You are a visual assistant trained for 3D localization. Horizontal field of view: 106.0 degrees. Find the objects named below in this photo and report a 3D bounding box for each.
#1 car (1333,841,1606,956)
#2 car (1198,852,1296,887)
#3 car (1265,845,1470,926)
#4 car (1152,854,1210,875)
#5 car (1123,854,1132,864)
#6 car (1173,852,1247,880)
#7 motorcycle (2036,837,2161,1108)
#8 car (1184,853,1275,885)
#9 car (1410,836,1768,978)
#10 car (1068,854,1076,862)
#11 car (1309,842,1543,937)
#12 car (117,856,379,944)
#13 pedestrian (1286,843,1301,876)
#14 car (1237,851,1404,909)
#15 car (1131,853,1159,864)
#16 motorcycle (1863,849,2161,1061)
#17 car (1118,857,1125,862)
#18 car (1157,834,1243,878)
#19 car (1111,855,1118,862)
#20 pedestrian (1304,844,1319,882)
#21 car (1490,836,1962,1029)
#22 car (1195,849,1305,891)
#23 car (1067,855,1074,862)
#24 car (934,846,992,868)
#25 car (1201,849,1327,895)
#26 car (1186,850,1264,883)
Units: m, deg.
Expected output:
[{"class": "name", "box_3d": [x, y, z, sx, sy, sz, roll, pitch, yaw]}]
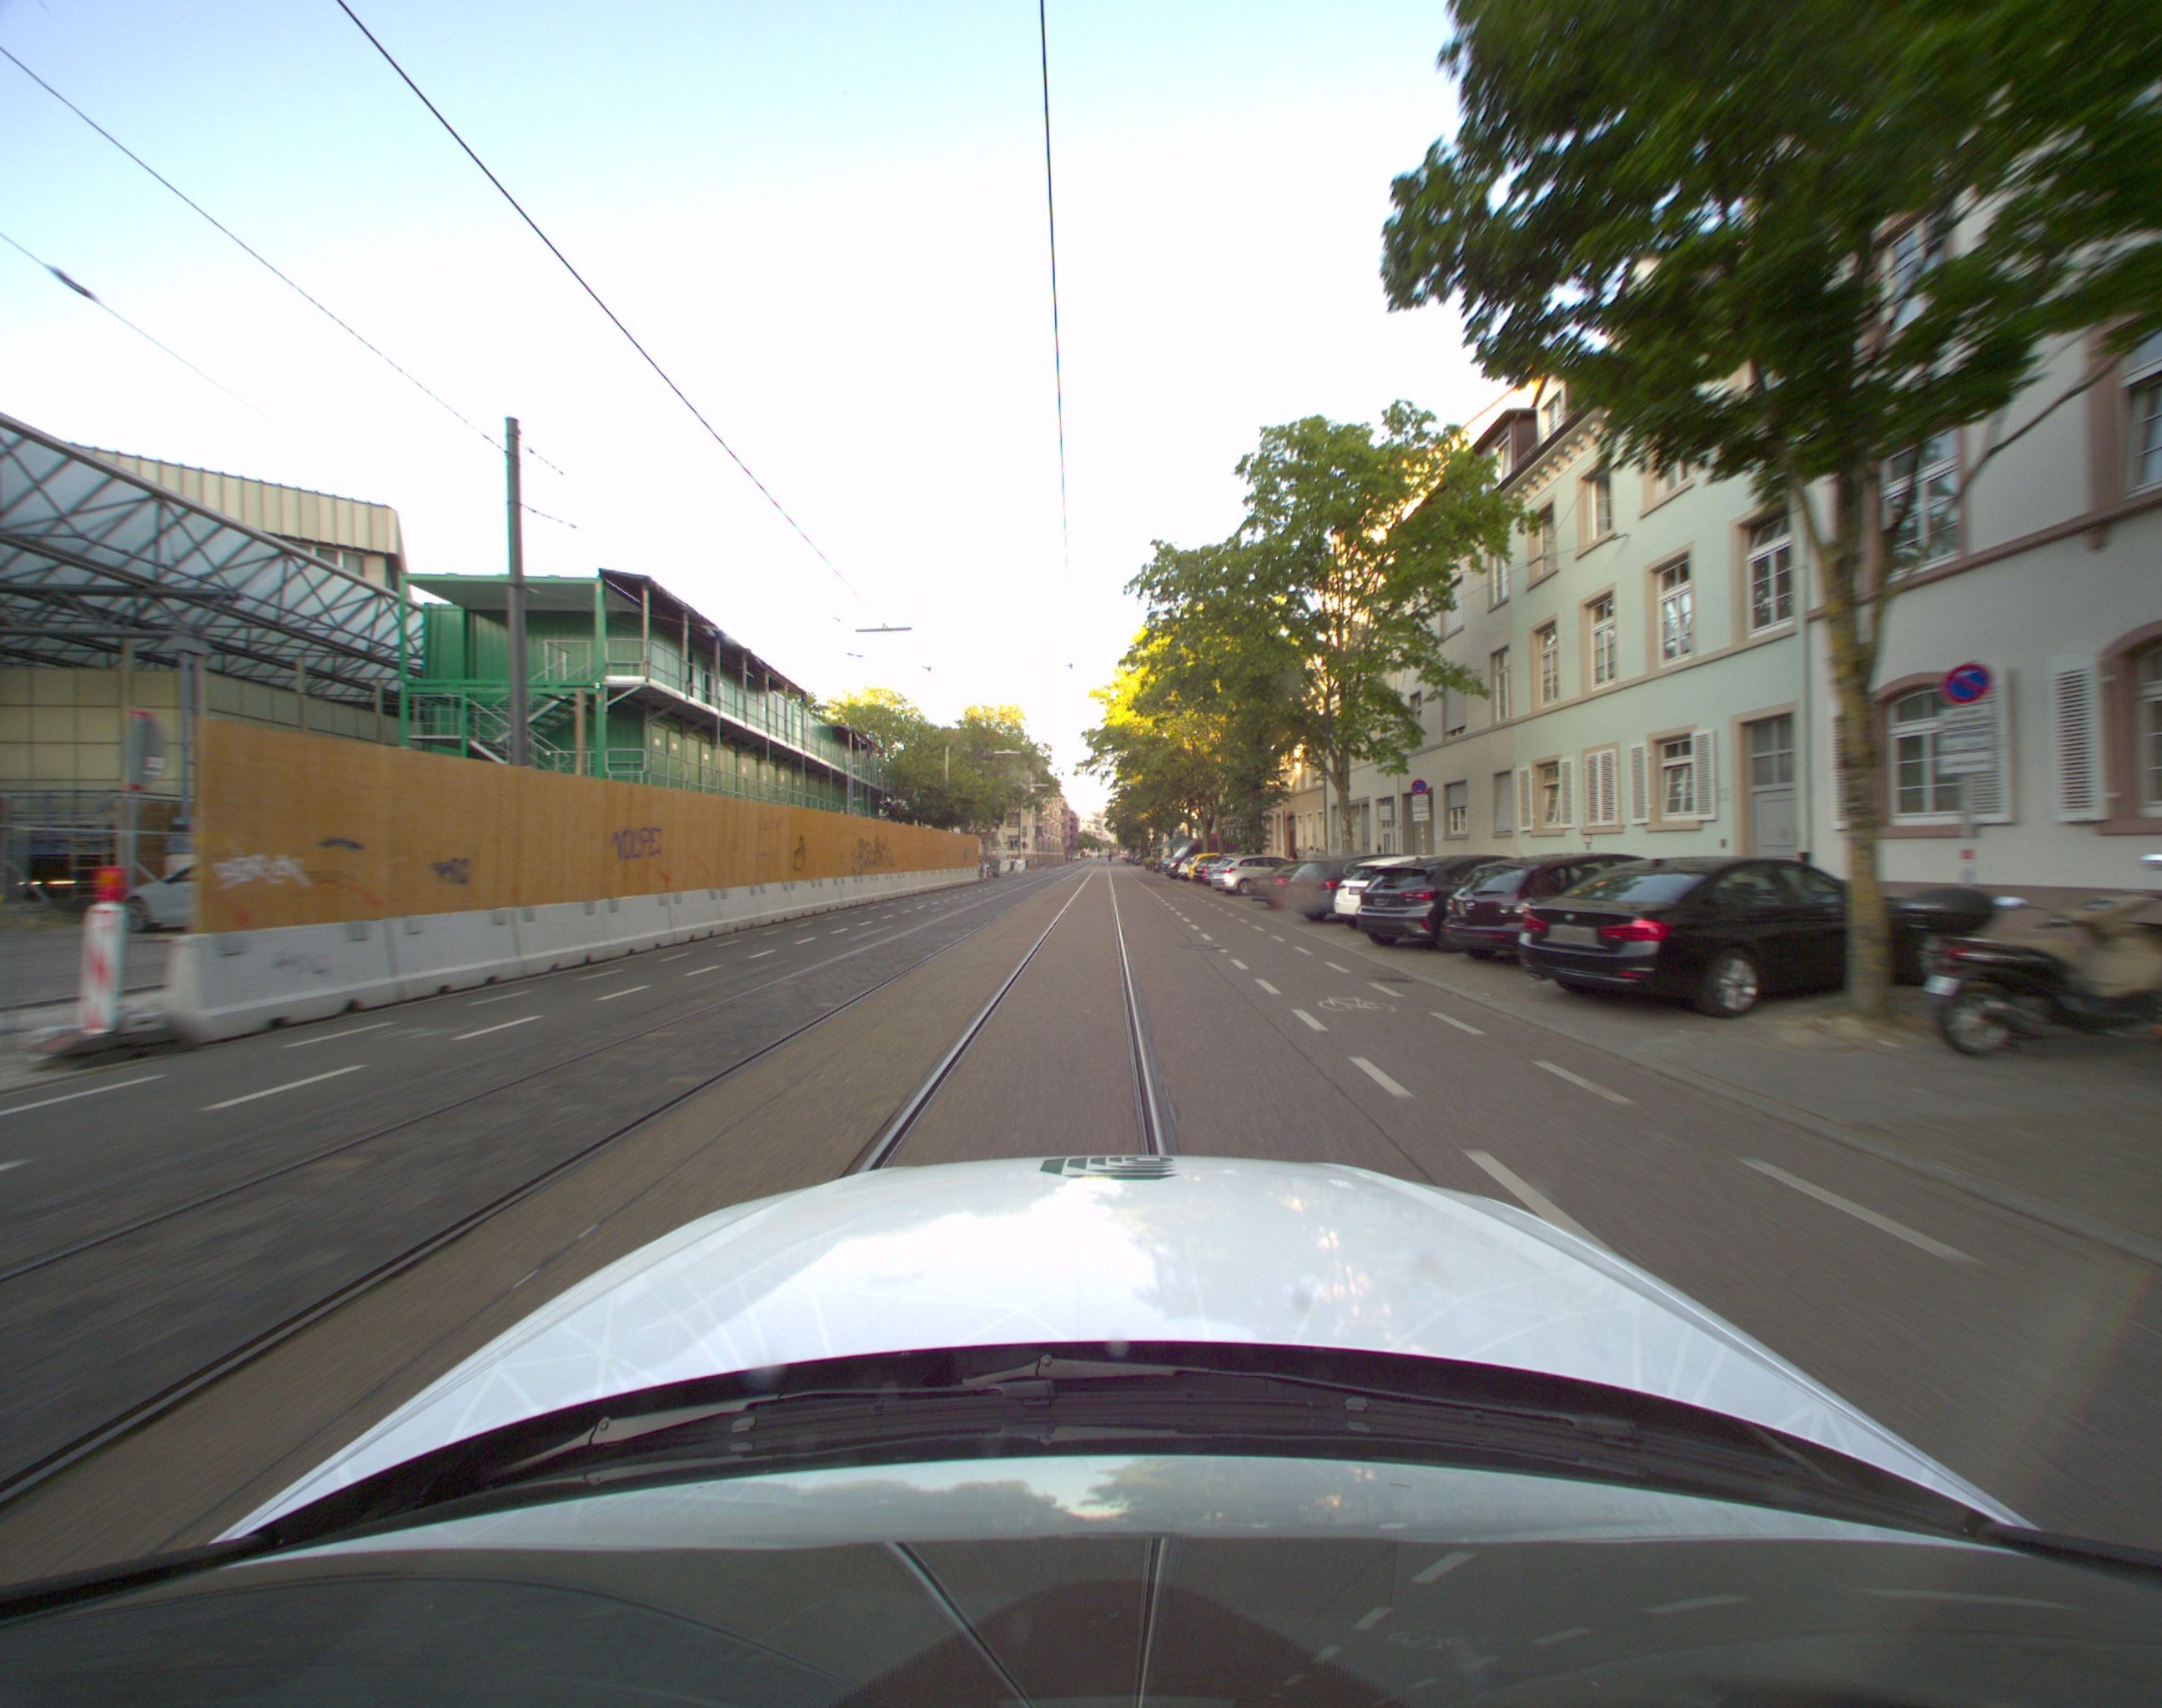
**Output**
[{"class": "car", "box_3d": [6.523, 0.664, 13.680, 4.134, 1.470, 1.810, -4, 0, -23]}, {"class": "car", "box_3d": [7.744, 0.712, 37.994, 4.140, 1.425, 1.883, -2, -1, -24]}, {"class": "car", "box_3d": [6.605, 0.669, 18.806, 4.134, 1.470, 2.000, -4, 0, -23]}, {"class": "car", "box_3d": [8.156, 0.859, 66.443, 4.193, 1.498, 1.993, -2, -1, -23]}, {"class": "car", "box_3d": [9.190, 0.926, 160.808, 1.798, 2.014, 4.002, 0, 0, 2]}, {"class": "car", "box_3d": [7.695, 0.729, 48.593, 3.967, 1.486, 1.906, -2, -1, -23]}, {"class": "motorcycle", "box_3d": [6.994, 0.610, 4.519, 2.215, 1.461, 0.967, -3, 0, 0]}, {"class": "car", "box_3d": [7.541, 0.753, 41.348, 4.140, 1.425, 1.905, -2, -1, -24]}, {"class": "car", "box_3d": [6.909, 0.637, 11.238, 3.956, 1.470, 1.991, -4, 0, -15]}, {"class": "car", "box_3d": [-2.446, 1.166, 225.936, 1.891, 2.178, 4.002, 0, 0, 2]}, {"class": "car", "box_3d": [6.914, 0.645, 16.365, 4.134, 1.470, 1.972, -4, 0, -23]}, {"class": "car", "box_3d": [-15.653, 0.790, 15.346, 3.964, 1.402, 1.743, 1, 0, 16]}, {"class": "pedestrian", "box_3d": [10.369, 0.276, 39.763, 0.536, 1.568, 0.814, -1, -1, 4]}, {"class": "car", "box_3d": [6.871, 0.720, 23.410, 4.267, 1.392, 2.001, -2, 0, -22]}, {"class": "car", "box_3d": [9.057, 0.593, 115.699, 3.872, 1.592, 1.862, 0, 0, 2]}, {"class": "motorcycle", "box_3d": [6.710, 0.683, 5.771, 1.780, 1.343, 0.533, -3, 0, -1]}, {"class": "car", "box_3d": [12.435, 1.646, 251.346, 1.956, 1.718, 4.002, 0, 0, 2]}, {"class": "car", "box_3d": [7.797, 0.134, 53.334, 5.105, 2.642, 2.011, -3, -1, -15]}, {"class": "car", "box_3d": [9.889, 1.339, 240.527, 1.891, 2.014, 4.002, 0, 0, 2]}, {"class": "pedestrian", "box_3d": [11.094, 0.449, 39.175, 0.563, 1.814, 0.607, -1, -1, 2]}, {"class": "car", "box_3d": [6.678, 0.676, 8.516, 4.173, 1.426, 1.812, -4, 0, -18]}, {"class": "car", "box_3d": [7.321, 0.687, 35.287, 4.267, 1.560, 1.884, -2, -1, -22]}, {"class": "car", "box_3d": [-2.856, 1.270, 221.296, 1.891, 2.014, 4.002, 0, 0, 2]}, {"class": "car", "box_3d": [-11.346, 0.289, 78.497, 5.001, 1.945, 2.231, 1, 0, 6]}, {"class": "car", "box_3d": [6.984, 0.673, 31.307, 4.250, 1.549, 2.013, -2, 0, -9]}, {"class": "car", "box_3d": [7.857, 0.690, 44.745, 3.935, 1.619, 1.922, -3, -1, 2]}]
